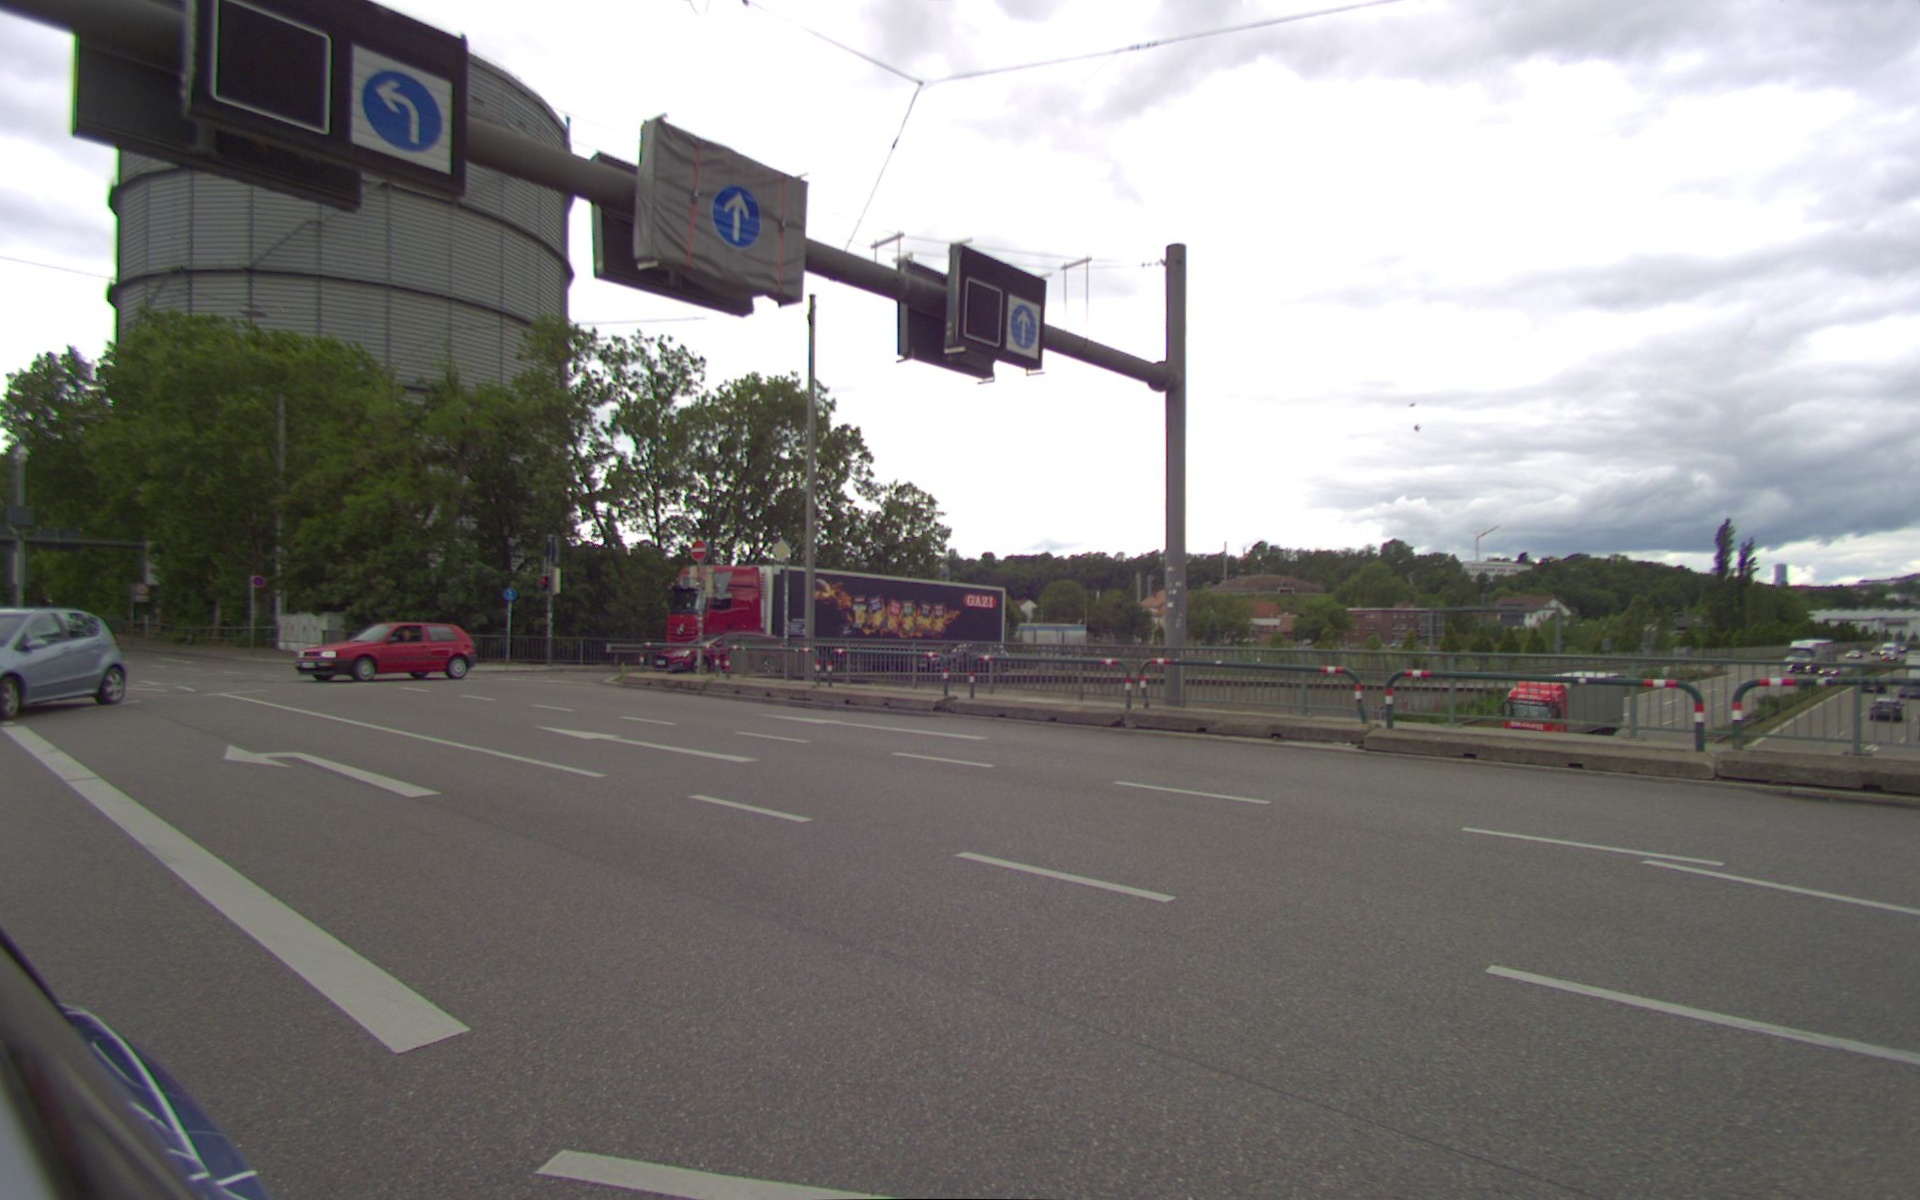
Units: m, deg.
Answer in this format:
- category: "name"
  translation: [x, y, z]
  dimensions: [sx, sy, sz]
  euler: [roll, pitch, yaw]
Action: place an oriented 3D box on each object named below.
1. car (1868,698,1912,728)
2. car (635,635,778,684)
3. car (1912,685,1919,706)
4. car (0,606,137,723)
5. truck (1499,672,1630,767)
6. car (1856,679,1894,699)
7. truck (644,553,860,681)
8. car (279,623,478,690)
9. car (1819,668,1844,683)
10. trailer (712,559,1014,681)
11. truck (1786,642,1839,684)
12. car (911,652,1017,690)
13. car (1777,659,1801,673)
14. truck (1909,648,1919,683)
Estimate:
- category: "car"
  translation: [68.117, 8.224, 74.114]
  dimensions: [4.359, 1.730, 2.140]
  euler: [1, 0, -45]
- category: "car"
  translation: [-8.191, 1.892, 33.022]
  dimensions: [1.696, 1.431, 4.408]
  euler: [-2, -2, 40]
- category: "car"
  translation: [91.067, 9.001, 95.100]
  dimensions: [4.359, 1.730, 2.140]
  euler: [1, 0, -45]
- category: "car"
  translation: [-14.319, 0.924, 14.963]
  dimensions: [1.720, 1.616, 3.690]
  euler: [2, -3, -11]
- category: "truck"
  translation: [35.355, 6.693, 58.821]
  dimensions: [13.054, 4.389, 2.894]
  euler: [1, -1, -42]
- category: "car"
  translation: [91.828, 8.884, 101.522]
  dimensions: [4.659, 1.730, 2.340]
  euler: [1, -3, -42]
- category: "truck"
  translation: [-7.753, 0.816, 38.430]
  dimensions: [3.672, 4.354, 7.131]
  euler: [-2, -5, 43]
- category: "car"
  translation: [-14.046, 1.377, 24.674]
  dimensions: [1.740, 1.475, 3.917]
  euler: [-4, -4, 27]
- category: "car"
  translation: [107.867, 9.293, 125.292]
  dimensions: [3.583, 1.730, 1.916]
  euler: [3, -1, -42]
- category: "trailer"
  translation: [-3.554, 1.166, 42.861]
  dimensions: [3.672, 4.354, 13.584]
  euler: [-2, -5, 43]
- category: "truck"
  translation: [112.184, 8.159, 133.088]
  dimensions: [13.723, 4.992, 3.383]
  euler: [1, -2, -42]
- category: "car"
  translation: [0.208, 2.898, 41.296]
  dimensions: [4.402, 1.431, 1.698]
  euler: [4, -4, -45]
- category: "car"
  translation: [120.770, 9.598, 147.446]
  dimensions: [3.937, 2.029, 2.003]
  euler: [4, -4, -41]
- category: "truck"
  translation: [104.233, 7.041, 108.145]
  dimensions: [8.117, 3.482, 3.598]
  euler: [2, 0, -44]
